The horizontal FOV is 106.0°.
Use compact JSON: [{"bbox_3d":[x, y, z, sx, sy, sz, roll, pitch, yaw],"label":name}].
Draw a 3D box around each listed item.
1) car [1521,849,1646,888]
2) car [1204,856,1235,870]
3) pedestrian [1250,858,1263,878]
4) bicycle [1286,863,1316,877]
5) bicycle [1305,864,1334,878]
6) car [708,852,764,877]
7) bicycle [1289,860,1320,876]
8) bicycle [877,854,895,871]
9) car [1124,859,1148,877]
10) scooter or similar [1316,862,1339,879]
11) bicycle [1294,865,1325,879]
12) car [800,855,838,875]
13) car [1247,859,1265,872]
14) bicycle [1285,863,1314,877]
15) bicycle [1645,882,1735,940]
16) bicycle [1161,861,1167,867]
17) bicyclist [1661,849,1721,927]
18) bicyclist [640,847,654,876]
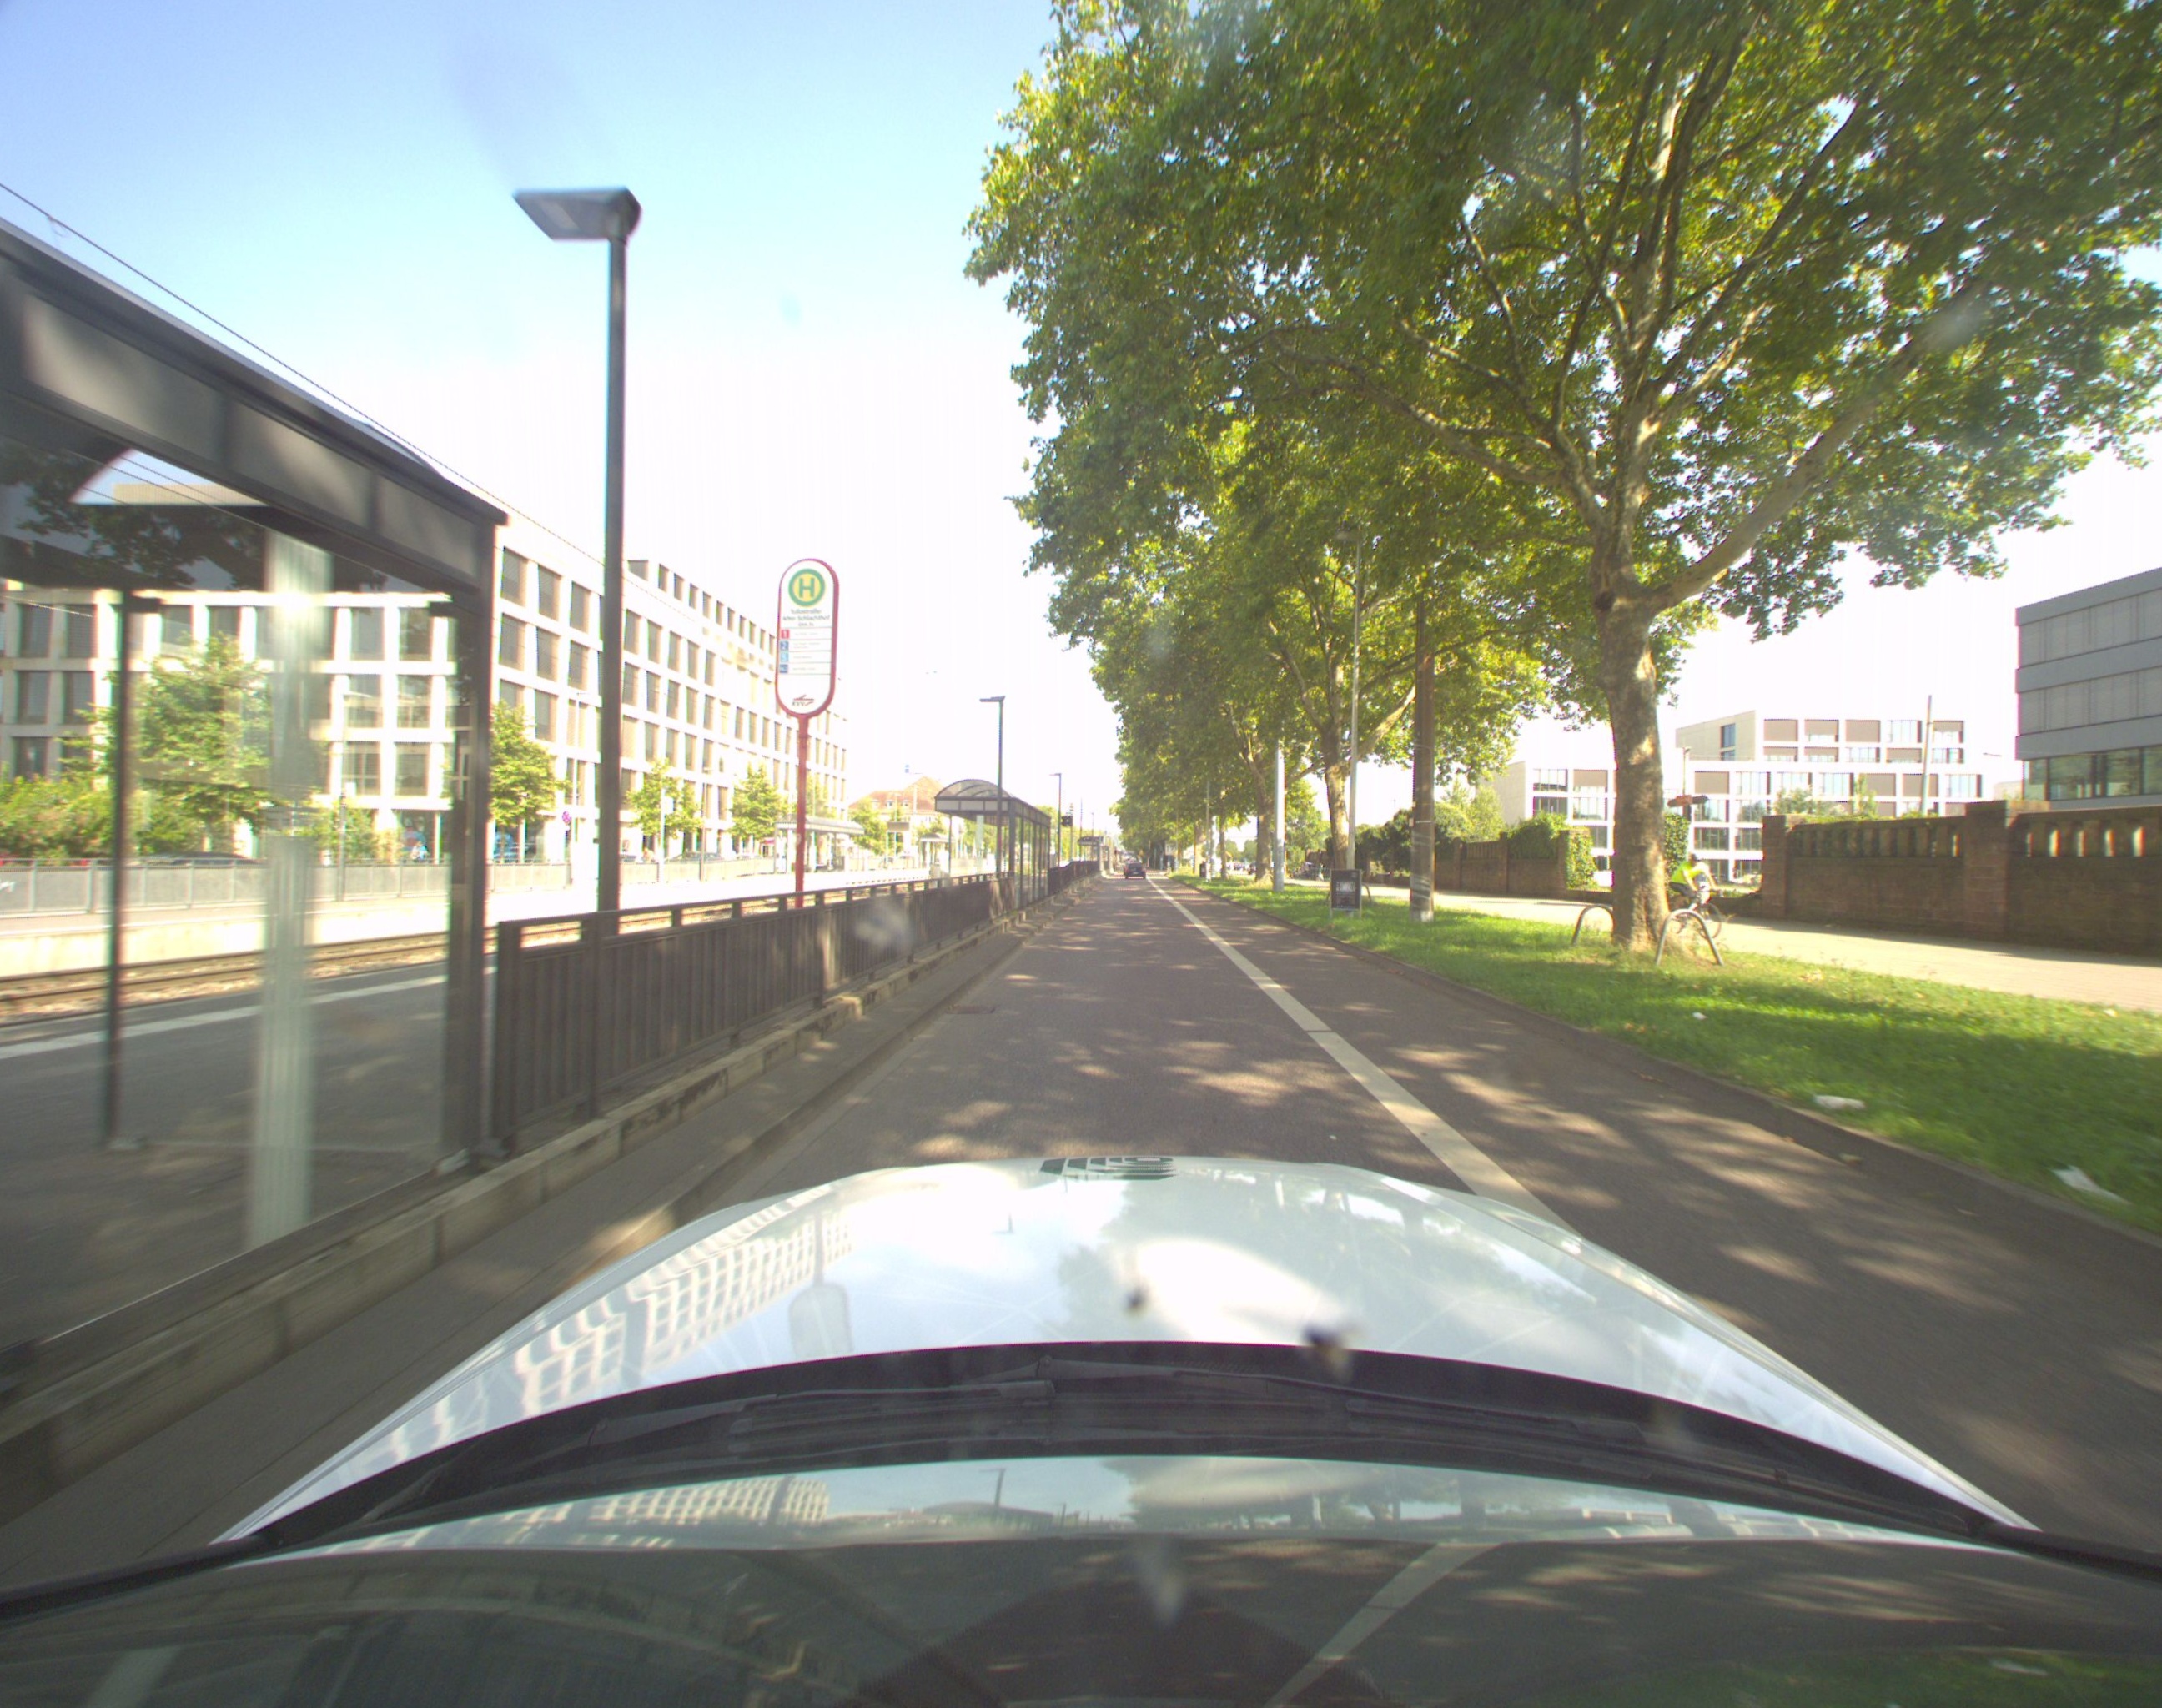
[{"bbox_3d":[22.657,0.636,36.836,4.505,1.734,1.910,0,0,1],"label":"car"},{"bbox_3d":[19.370,1.285,114.095,4.083,1.918,1.851,-1,-1,6],"label":"car"},{"bbox_3d":[13.241,1.028,61.467,0.780,1.515,0.787,0,-1,3],"label":"pedestrian"},{"bbox_3d":[17.205,1.243,63.836,2.162,1.076,0.744,-2,-1,6],"label":"bicycle"},{"bbox_3d":[17.132,1.216,58.529,1.860,1.006,0.735,1,-1,1],"label":"bicycle"},{"bbox_3d":[-22.673,0.689,53.693,1.757,1.574,4.134,0,-1,2],"label":"car"},{"bbox_3d":[18.120,1.158,66.097,2.235,1.277,0.999,-1,-2,2],"label":"bicycle"},{"bbox_3d":[-13.891,0.599,58.058,0.467,1.147,1.490,1,-1,18],"label":"bicycle"},{"bbox_3d":[4.650,1.177,69.458,1.900,1.537,4.002,-1,-1,3],"label":"car"},{"bbox_3d":[17.328,1.156,57.286,1.497,1.191,0.540,-1,-1,7],"label":"scooter or similar"},{"bbox_3d":[17.266,1.362,61.601,2.165,1.076,0.743,1,-1,1],"label":"bicycle"},{"bbox_3d":[-21.902,0.897,68.247,1.757,1.603,4.134,0,-1,2],"label":"car"},{"bbox_3d":[21.874,1.371,101.809,1.601,1.575,3.800,0,0,3],"label":"car"},{"bbox_3d":[17.345,1.277,64.631,2.162,1.076,0.744,-2,-1,6],"label":"bicycle"},{"bbox_3d":[11.696,1.061,15.712,0.546,1.007,1.715,0,0,4],"label":"bicycle"},{"bbox_3d":[13.242,1.614,129.903,0.608,1.022,2.402,0,0,-1],"label":"bicycle"},{"bbox_3d":[11.695,0.645,15.629,0.546,1.453,0.843,0,-1,3],"label":"bicyclist"},{"bbox_3d":[-20.759,0.354,38.950,0.385,1.361,0.447,1,-1,3],"label":"bicyclist"}]
